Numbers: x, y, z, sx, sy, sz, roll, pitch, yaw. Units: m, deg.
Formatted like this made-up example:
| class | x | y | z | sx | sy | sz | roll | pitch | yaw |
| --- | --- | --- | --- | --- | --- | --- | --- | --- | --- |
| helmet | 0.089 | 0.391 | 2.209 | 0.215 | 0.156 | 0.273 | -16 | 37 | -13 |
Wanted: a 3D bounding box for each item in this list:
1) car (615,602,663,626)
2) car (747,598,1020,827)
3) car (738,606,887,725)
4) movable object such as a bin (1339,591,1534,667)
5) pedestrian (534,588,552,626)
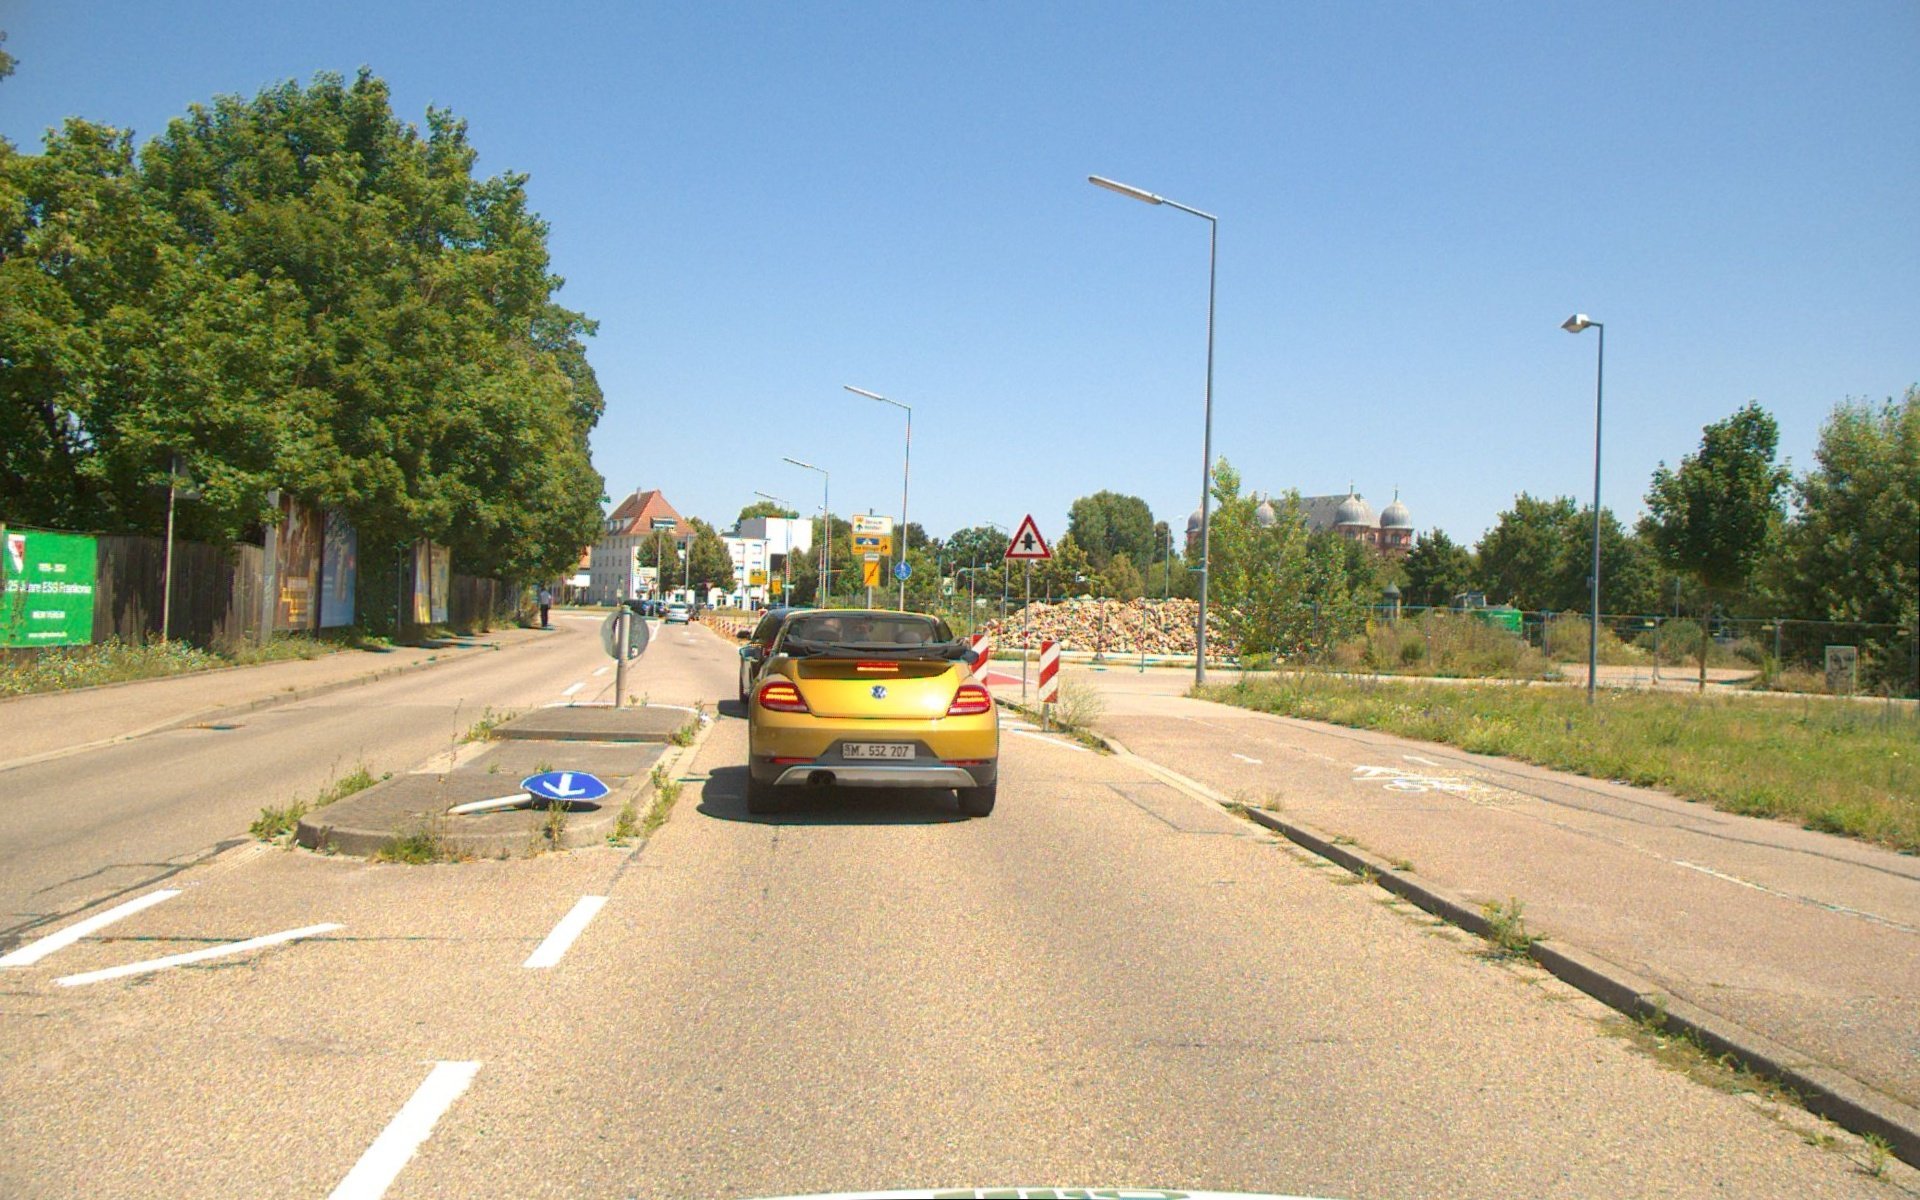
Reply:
| class | x | y | z | sx | sy | sz | roll | pitch | yaw |
| --- | --- | --- | --- | --- | --- | --- | --- | --- | --- |
| car | -29.020 | 1.286 | 149.736 | 3.907 | 2.049 | 1.999 | 2 | -1 | -2 |
| car | -0.715 | 0.752 | 12.763 | 1.756 | 1.462 | 3.808 | 2 | 0 | -7 |
| car | -2.126 | 0.849 | 22.891 | 1.695 | 1.468 | 3.990 | 2 | -1 | -10 |
| movable object such as a bin | 23.024 | 1.371 | 80.819 | 4.852 | 3.317 | 10.438 | 2 | -1 | -12 |
| pedestrian | -19.316 | 0.330 | 76.624 | 0.710 | 1.756 | 0.815 | 2 | -1 | -14 |
